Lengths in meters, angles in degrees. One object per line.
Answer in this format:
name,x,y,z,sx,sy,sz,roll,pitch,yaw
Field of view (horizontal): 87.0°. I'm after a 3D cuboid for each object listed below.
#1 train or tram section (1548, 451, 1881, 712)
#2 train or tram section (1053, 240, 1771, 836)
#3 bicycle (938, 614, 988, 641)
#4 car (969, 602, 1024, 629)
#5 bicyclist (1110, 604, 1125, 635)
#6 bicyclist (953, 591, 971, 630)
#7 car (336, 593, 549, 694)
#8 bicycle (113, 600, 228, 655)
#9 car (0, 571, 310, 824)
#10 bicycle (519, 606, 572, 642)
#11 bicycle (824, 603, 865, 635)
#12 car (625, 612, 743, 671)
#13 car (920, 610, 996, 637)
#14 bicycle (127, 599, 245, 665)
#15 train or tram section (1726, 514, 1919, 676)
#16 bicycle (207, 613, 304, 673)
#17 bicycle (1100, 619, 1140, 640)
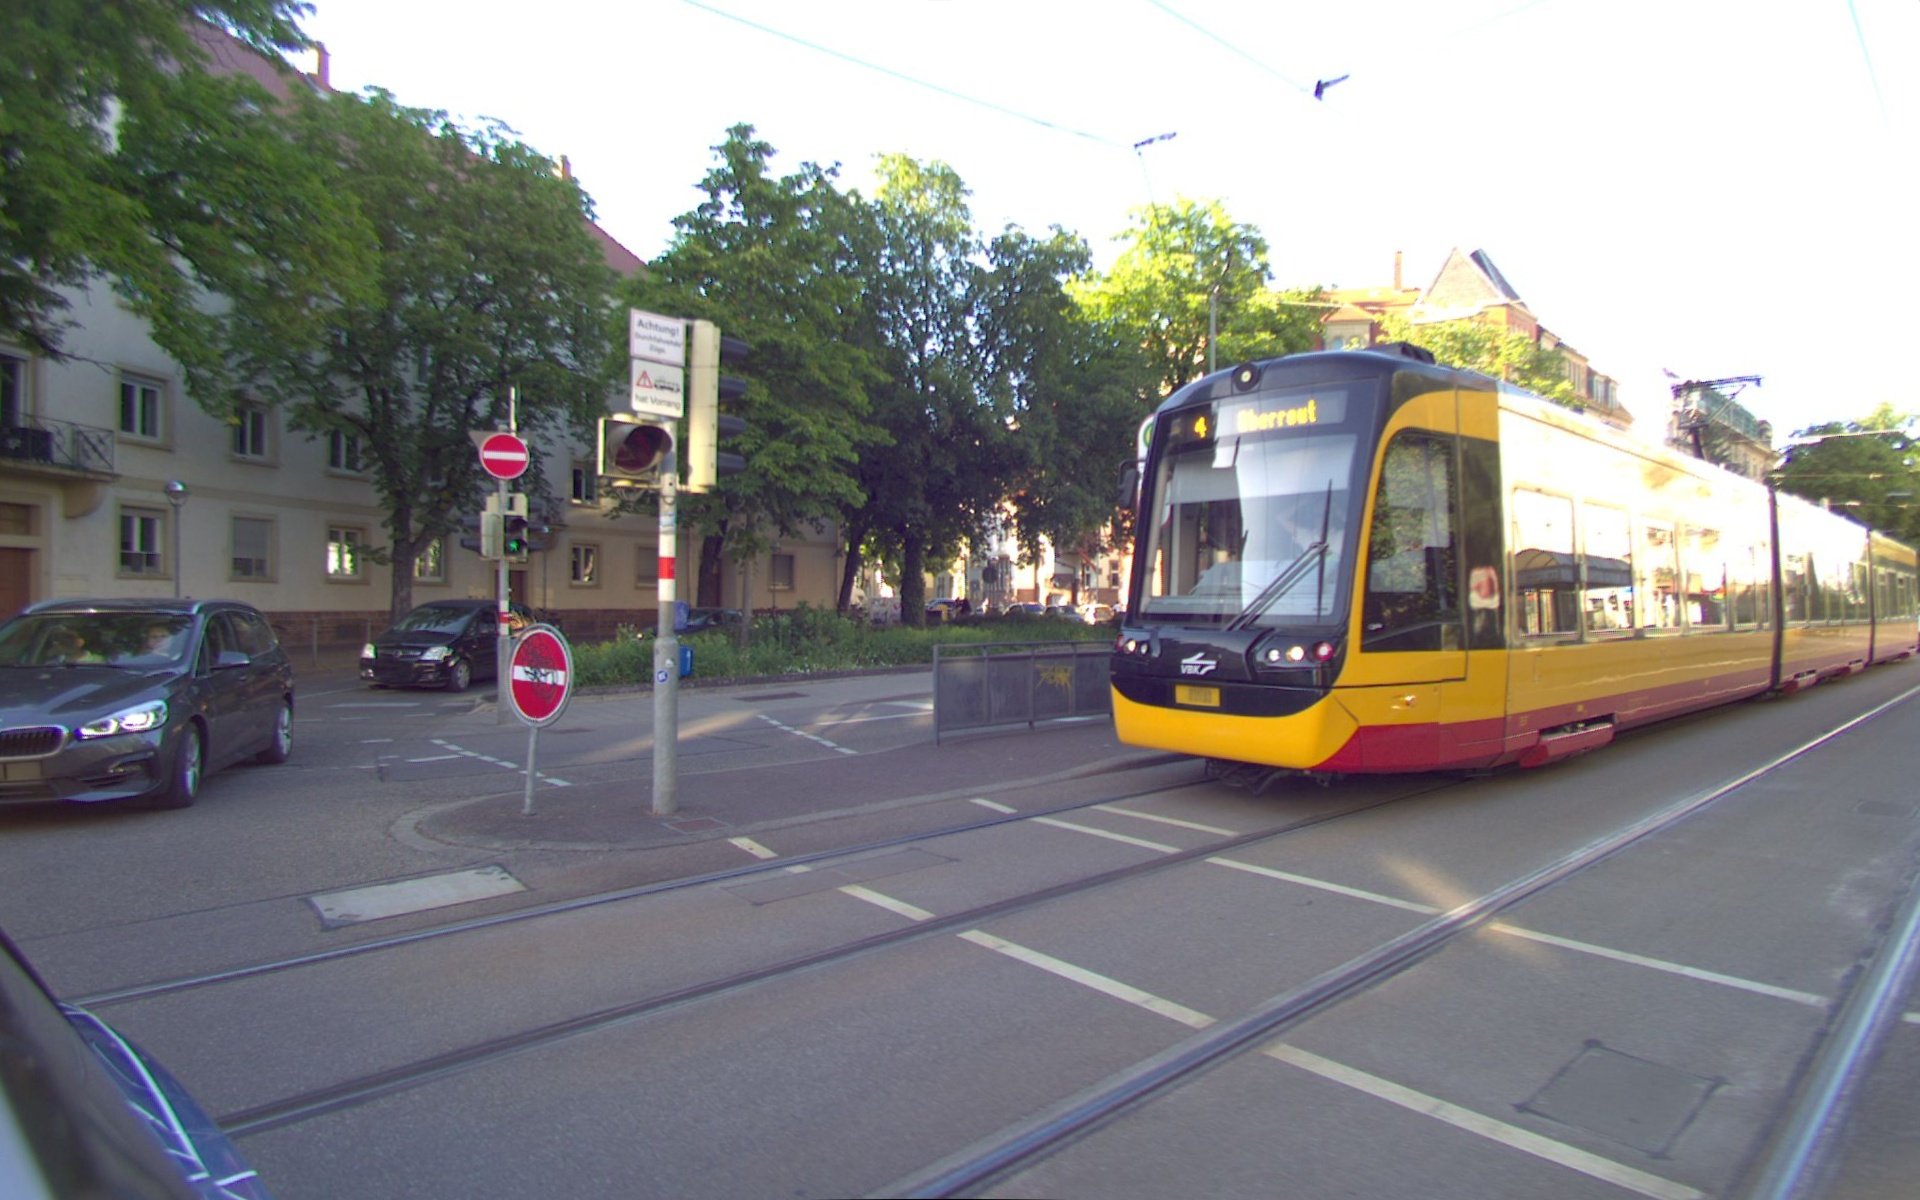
train or tram section,14.822,-0.184,19.188,12.229,3.614,2.790,1,-1,-42
train or tram section,6.003,-0.317,11.151,11.619,3.647,2.804,1,-1,-42
bicycle,0.123,1.121,41.098,1.948,1.065,0.640,1,-1,-31
car,2.183,0.937,61.116,1.775,1.564,4.199,1,-1,-21
bicyclist,8.355,1.030,53.723,0.553,1.585,0.592,1,-1,31
bicyclist,0.088,0.415,41.003,0.492,1.585,0.497,1,-1,-32
car,-9.352,0.744,18.644,1.661,1.641,3.678,1,-1,8
bicycle,-16.758,0.571,21.549,0.662,1.116,1.959,0,0,12
car,-6.940,0.675,8.331,1.763,1.590,4.274,1,-2,-20
bicycle,-13.406,0.774,32.792,0.793,1.127,1.854,1,0,7
bicycle,-4.864,0.803,42.820,0.765,1.314,1.884,1,0,28
car,-7.520,1.082,27.937,1.663,1.419,3.675,2,0,11
car,-0.112,1.272,55.388,3.738,1.436,1.682,1,-1,-24
bicycle,-16.148,0.641,21.185,0.711,1.287,1.960,2,0,10
train or tram section,23.972,-0.038,27.517,12.487,3.584,2.777,1,-1,-42
bicycle,-14.154,0.840,20.388,0.521,1.115,1.737,3,0,7
bicycle,8.468,1.557,53.645,1.975,1.065,0.631,1,0,31
